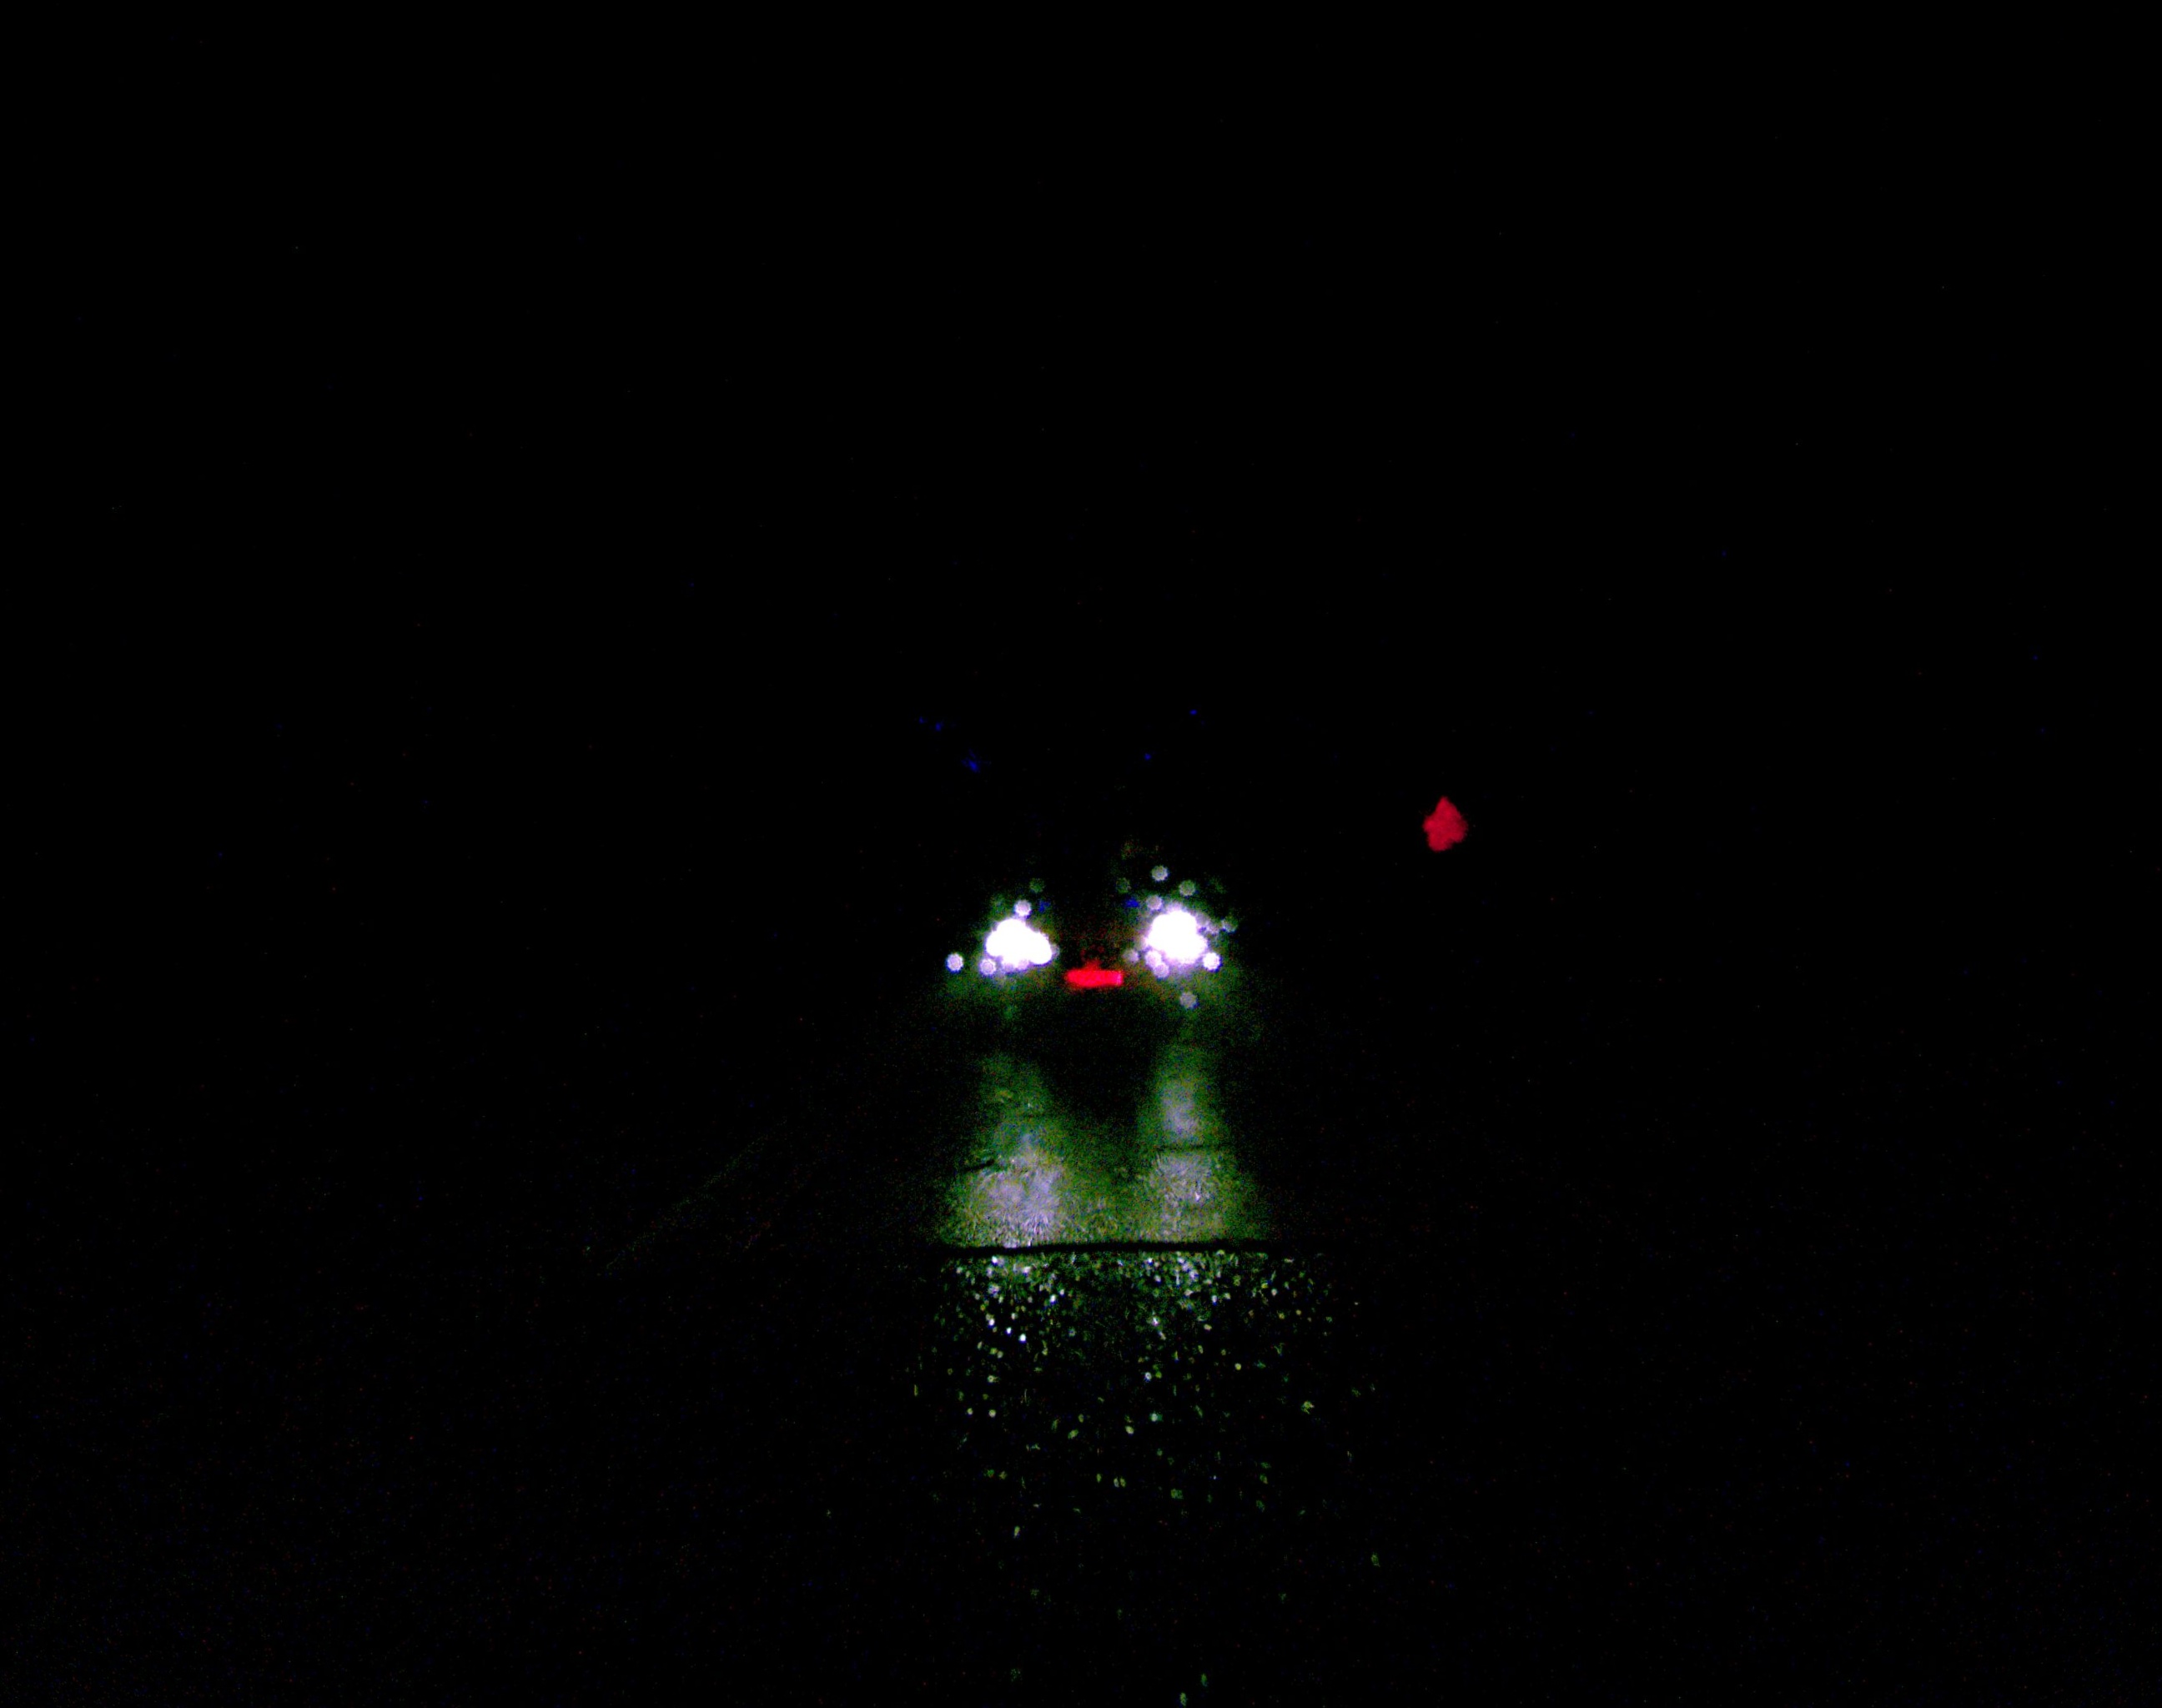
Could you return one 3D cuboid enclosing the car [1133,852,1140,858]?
[{"bbox_3d":[16.043,0.235,221.318,1.845,1.565,4.000,-2,1,3],"label":"car"}]

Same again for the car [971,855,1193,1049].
[{"bbox_3d":[0.106,0.846,8.497,1.845,1.565,4.000,-2,1,3],"label":"car"}]
